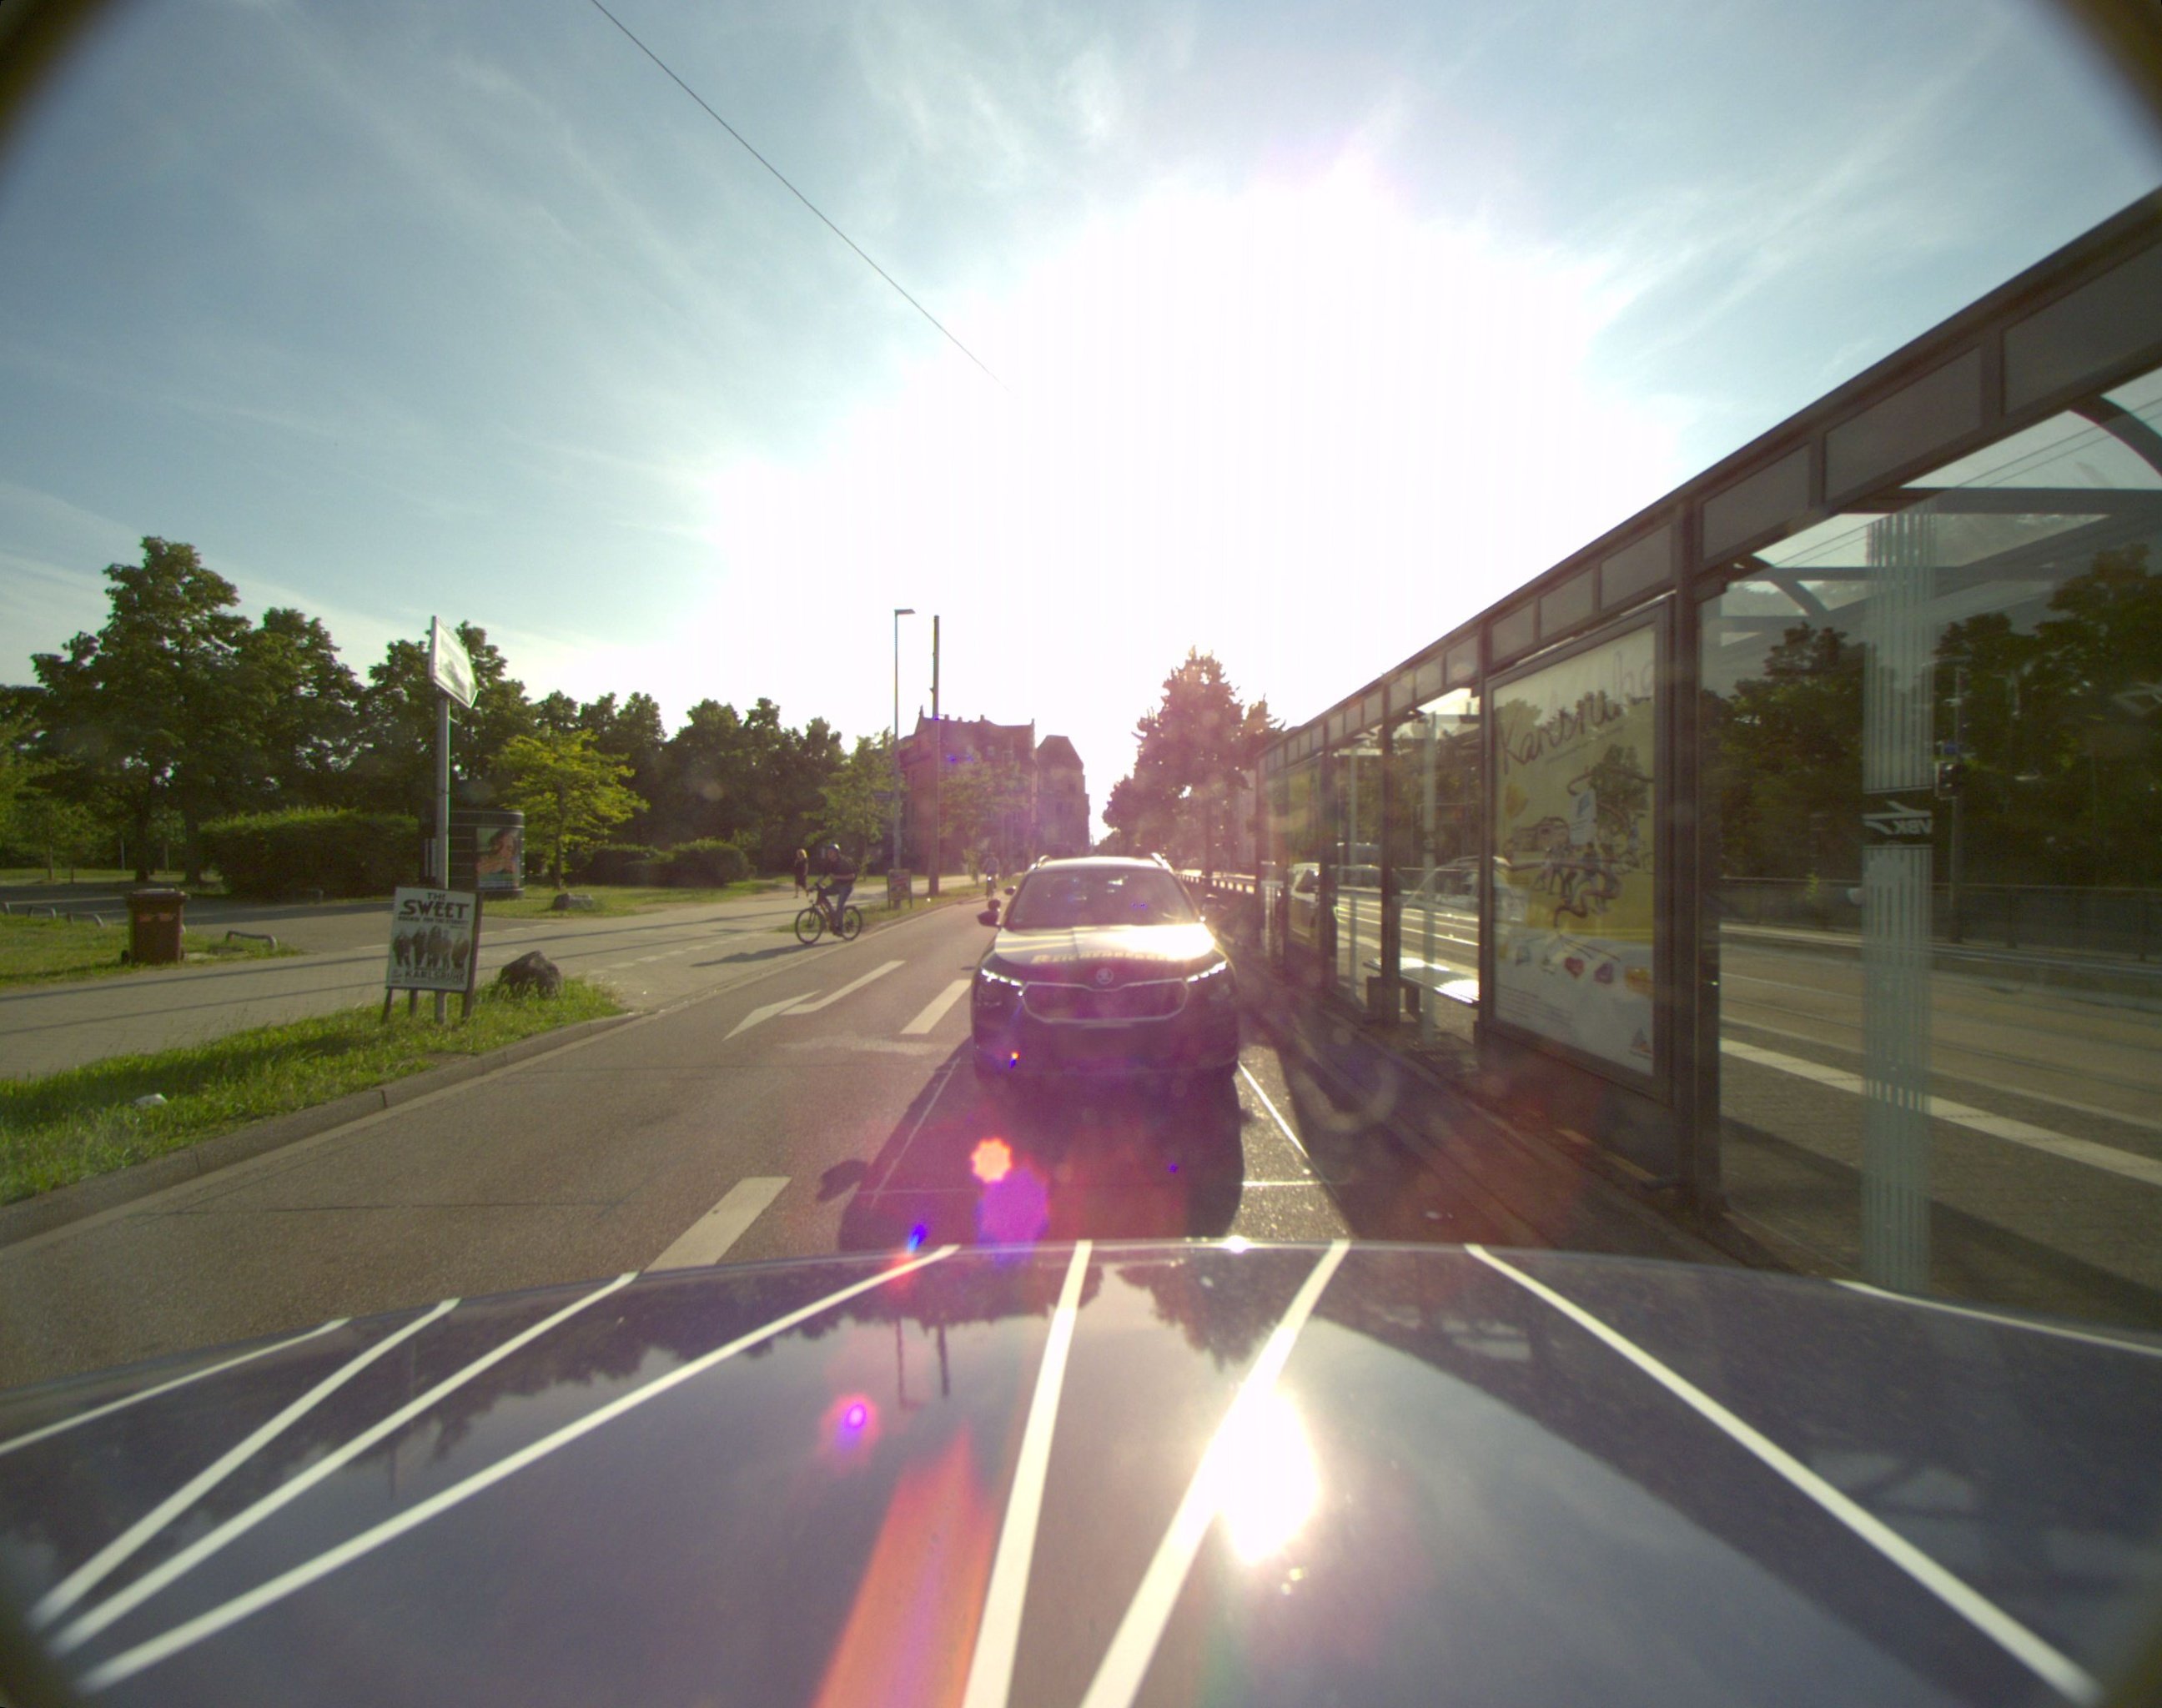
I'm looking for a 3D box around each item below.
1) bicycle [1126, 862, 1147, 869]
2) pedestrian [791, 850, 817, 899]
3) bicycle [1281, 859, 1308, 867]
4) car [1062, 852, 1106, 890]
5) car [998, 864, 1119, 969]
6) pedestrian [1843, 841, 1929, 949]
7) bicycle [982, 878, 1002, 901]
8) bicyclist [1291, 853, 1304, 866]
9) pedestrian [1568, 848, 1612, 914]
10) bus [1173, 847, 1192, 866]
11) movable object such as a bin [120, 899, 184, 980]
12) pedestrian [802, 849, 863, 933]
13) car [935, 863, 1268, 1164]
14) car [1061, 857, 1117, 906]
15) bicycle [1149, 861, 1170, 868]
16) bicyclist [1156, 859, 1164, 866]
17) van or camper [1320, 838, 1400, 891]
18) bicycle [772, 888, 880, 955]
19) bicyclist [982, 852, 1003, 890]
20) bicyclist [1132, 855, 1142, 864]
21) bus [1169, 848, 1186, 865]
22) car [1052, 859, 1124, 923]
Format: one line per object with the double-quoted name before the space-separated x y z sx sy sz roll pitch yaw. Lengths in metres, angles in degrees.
"bicycle" 6.784 1.365 92.109 2.536 0.876 0.631 0 0 5
"pedestrian" -9.670 0.712 26.538 0.621 1.675 0.618 -2 1 1
"bicycle" 25.922 1.044 92.335 2.962 0.974 0.879 0 0 -2
"car" 0.166 0.685 33.269 1.756 1.534 4.235 -1 0 1
"car" -0.301 0.956 13.364 1.756 1.451 4.235 -1 0 1
"pedestrian" 13.127 0.652 12.405 0.621 1.675 0.618 3 1 1
"bicycle" -3.458 1.368 29.648 0.567 0.789 2.041 0 0 0
"bicyclist" 26.276 0.629 92.189 1.402 1.538 0.888 0 0 -1
"pedestrian" 13.381 0.694 19.986 0.621 1.675 0.618 3 1 1
"bus" 19.959 0.445 149.980 2.437 3.415 9.261 -2 1 1
"movable object such as a bin" -11.429 1.031 9.360 0.603 0.912 0.457 1 1 42
"pedestrian" -4.693 0.687 14.392 0.636 1.512 0.846 -1 1 27
"car" 0.143 0.886 6.208 1.756 1.534 4.235 -1 0 1
"car" 0.294 0.912 26.789 1.756 1.534 4.235 -1 0 1
"bicycle" 9.690 1.327 94.107 2.538 0.876 0.630 0 0 -1
"bicyclist" 9.751 1.047 94.099 0.897 0.908 0.616 0 0 -2
"van or camper" 17.004 0.551 46.764 2.527 2.951 6.411 -2 1 1
"bicycle" -4.714 1.219 14.184 0.650 1.040 1.983 -1 1 27
"bicyclist" -3.437 0.652 29.658 0.689 1.445 1.111 0 0 0
"bicyclist" 6.737 0.690 92.098 1.217 1.018 0.671 0 0 4
"bus" 20.114 0.537 159.269 2.437 3.415 9.261 -2 1 1
"car" 0.211 0.932 20.995 1.756 1.534 4.235 -1 0 1
